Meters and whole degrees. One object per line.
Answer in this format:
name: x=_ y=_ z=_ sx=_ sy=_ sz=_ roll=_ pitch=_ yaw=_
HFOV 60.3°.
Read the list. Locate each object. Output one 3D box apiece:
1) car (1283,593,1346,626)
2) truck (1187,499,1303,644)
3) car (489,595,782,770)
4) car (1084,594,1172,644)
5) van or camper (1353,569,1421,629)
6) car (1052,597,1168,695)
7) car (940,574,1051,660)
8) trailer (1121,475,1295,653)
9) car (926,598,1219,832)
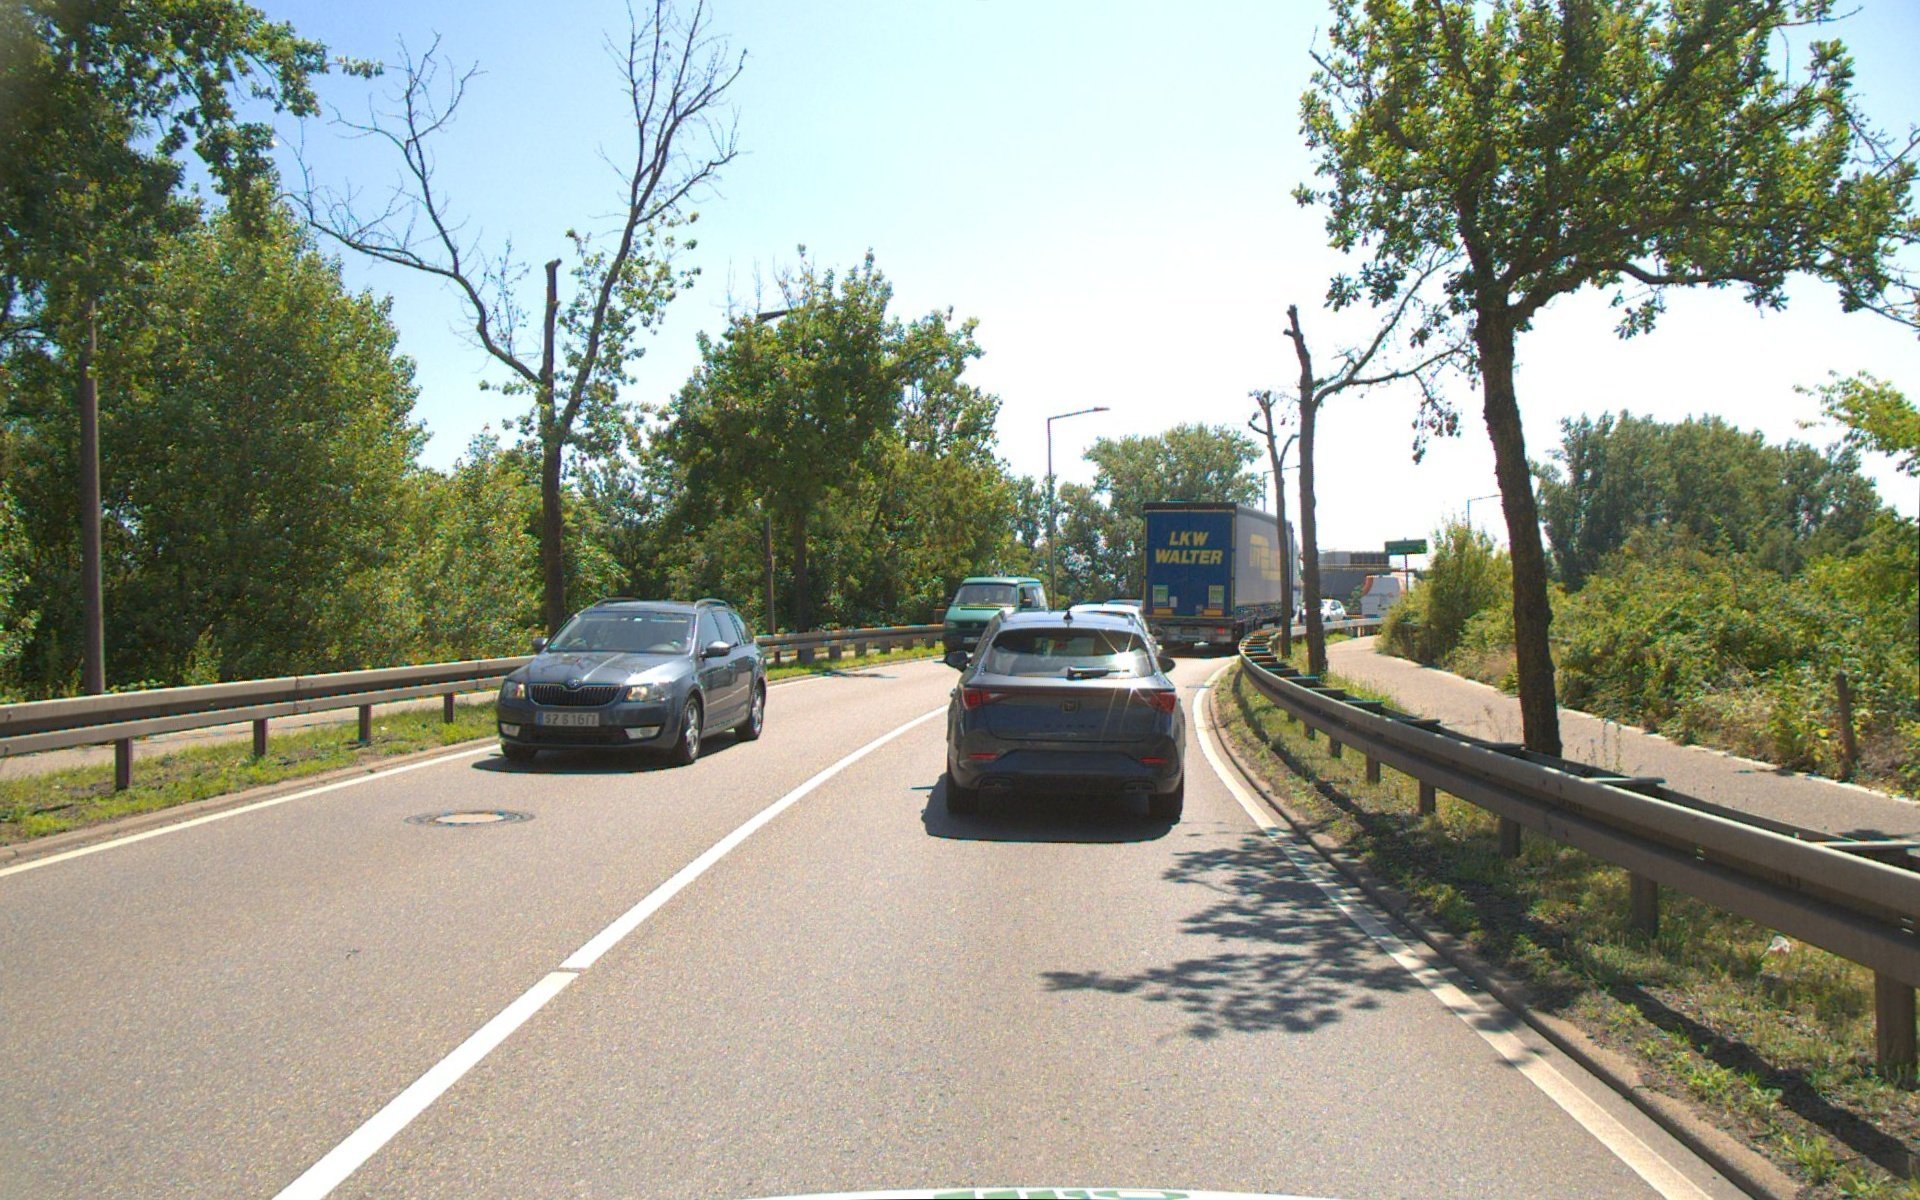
car: x=17.473 y=0.476 z=81.415 sx=1.978 sy=1.570 sz=3.752 roll=0 pitch=0 yaw=30
truck: x=9.931 y=-0.904 z=57.060 sx=3.103 sy=4.665 sz=7.401 roll=1 pitch=0 yaw=16
car: x=-3.002 y=0.696 z=16.302 sx=1.707 sy=1.472 sz=4.519 roll=0 pitch=0 yaw=4
car: x=5.483 y=0.587 z=53.442 sx=1.807 sy=1.493 sz=4.742 roll=1 pitch=0 yaw=19
van or camper: x=20.346 y=-0.058 z=78.626 sx=2.159 sy=2.758 sz=5.923 roll=0 pitch=0 yaw=24
car: x=2.549 y=0.714 z=27.457 sx=1.559 sy=1.486 sz=3.548 roll=1 pitch=0 yaw=11
car: x=0.939 y=0.385 z=40.385 sx=1.791 sy=1.972 sz=4.780 roll=0 pitch=0 yaw=13
trailer: x=7.824 y=-0.957 z=50.152 sx=3.068 sy=4.694 sz=12.954 roll=1 pitch=0 yaw=18
car: x=0.708 y=0.754 z=12.747 sx=1.809 sy=1.525 sz=3.756 roll=0 pitch=0 yaw=-3
